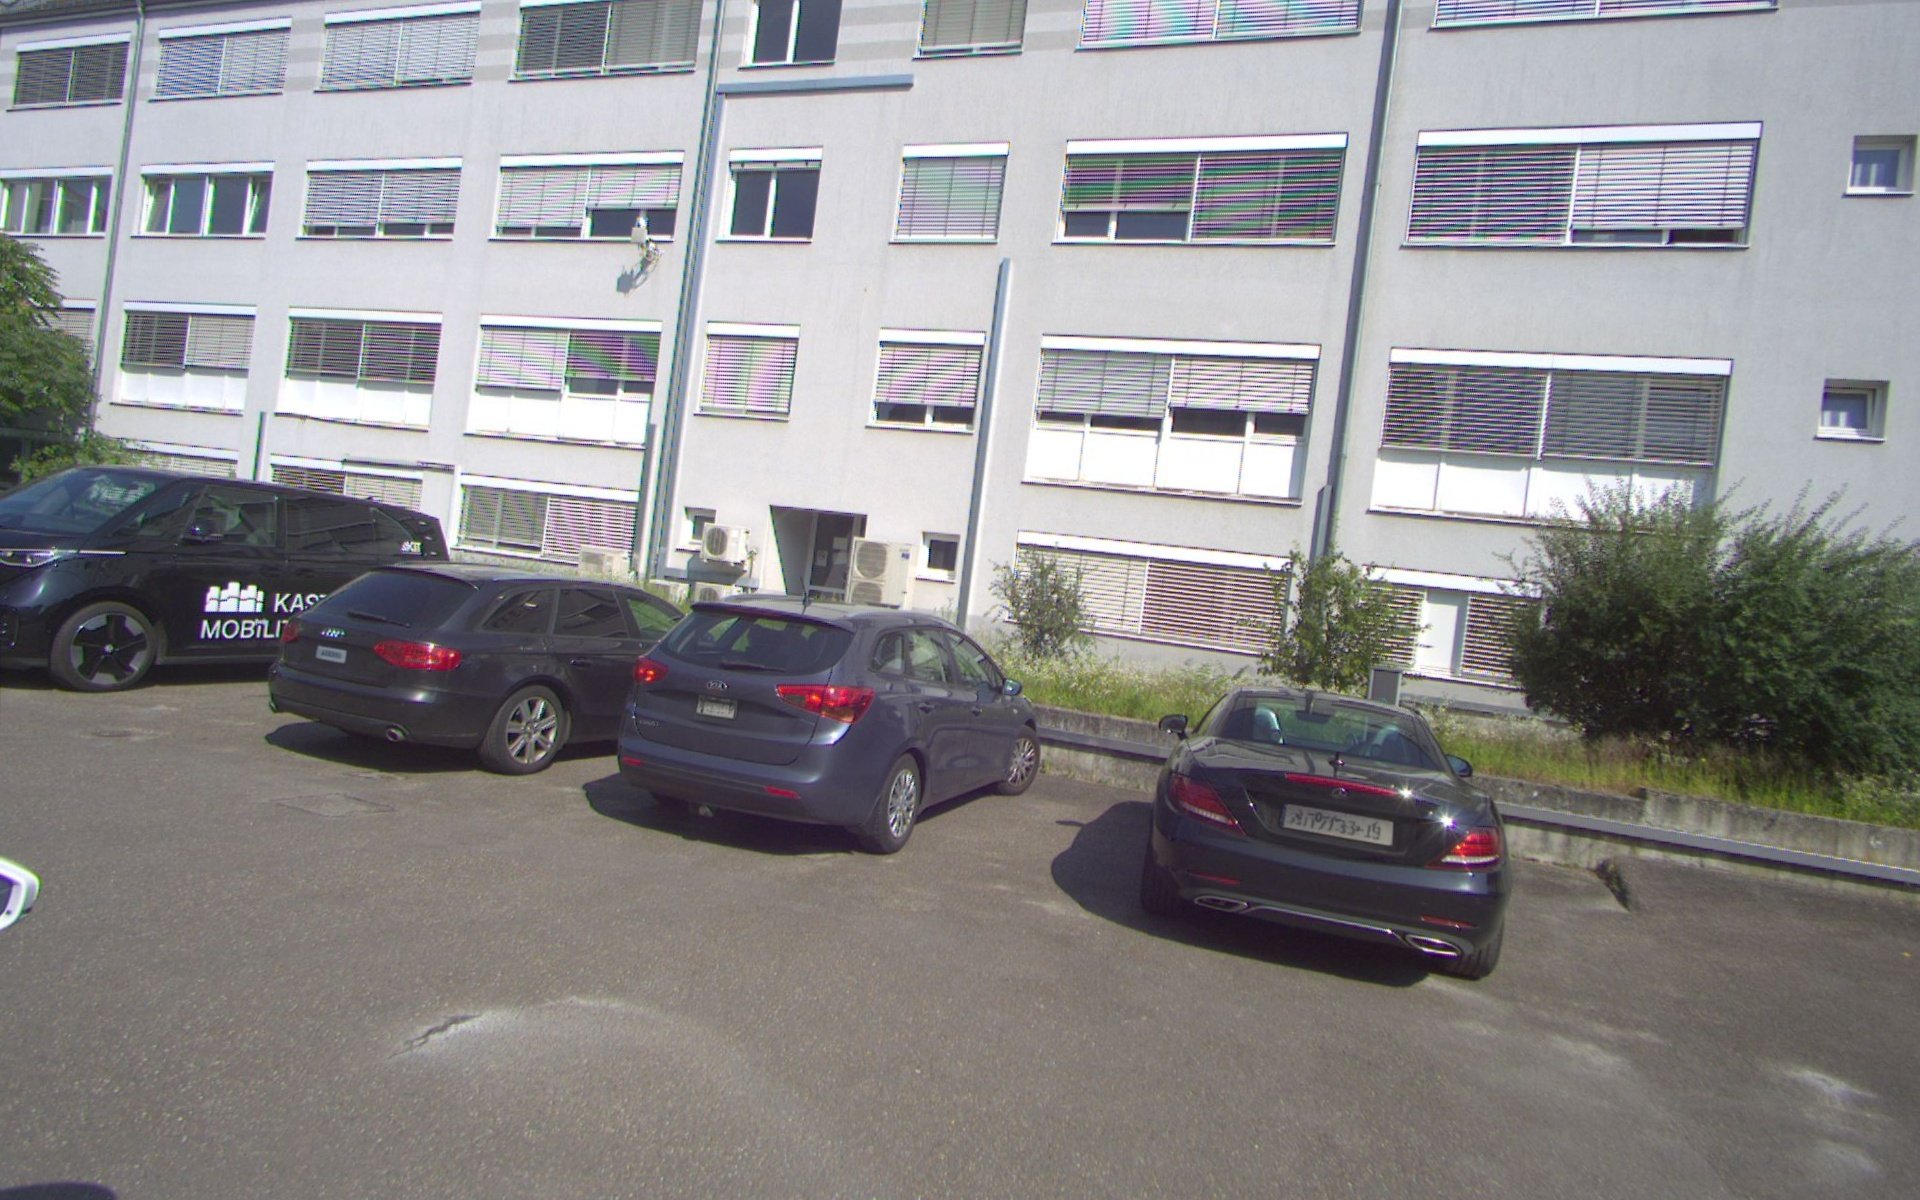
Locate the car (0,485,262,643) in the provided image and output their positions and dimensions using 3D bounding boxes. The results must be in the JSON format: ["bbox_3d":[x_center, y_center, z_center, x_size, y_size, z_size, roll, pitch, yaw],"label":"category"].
[{"bbox_3d":[-9.922,-0.409,10.563,1.741,1.500,3.947,6,-1,16],"label":"car"}]

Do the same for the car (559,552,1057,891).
[{"bbox_3d":[-0.744,0.754,7.380,1.844,1.607,3.877,7,-2,20],"label":"car"}]

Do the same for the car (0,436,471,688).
[{"bbox_3d":[-7.215,-0.254,9.662,1.847,1.816,4.518,6,-1,16],"label":"car"}]

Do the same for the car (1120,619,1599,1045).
[{"bbox_3d":[2.245,1.116,6.390,1.861,1.607,3.815,7,-2,15],"label":"car"}]

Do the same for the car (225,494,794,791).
[{"bbox_3d":[-3.305,0.376,8.381,1.739,1.711,4.131,7,-2,22],"label":"car"}]
